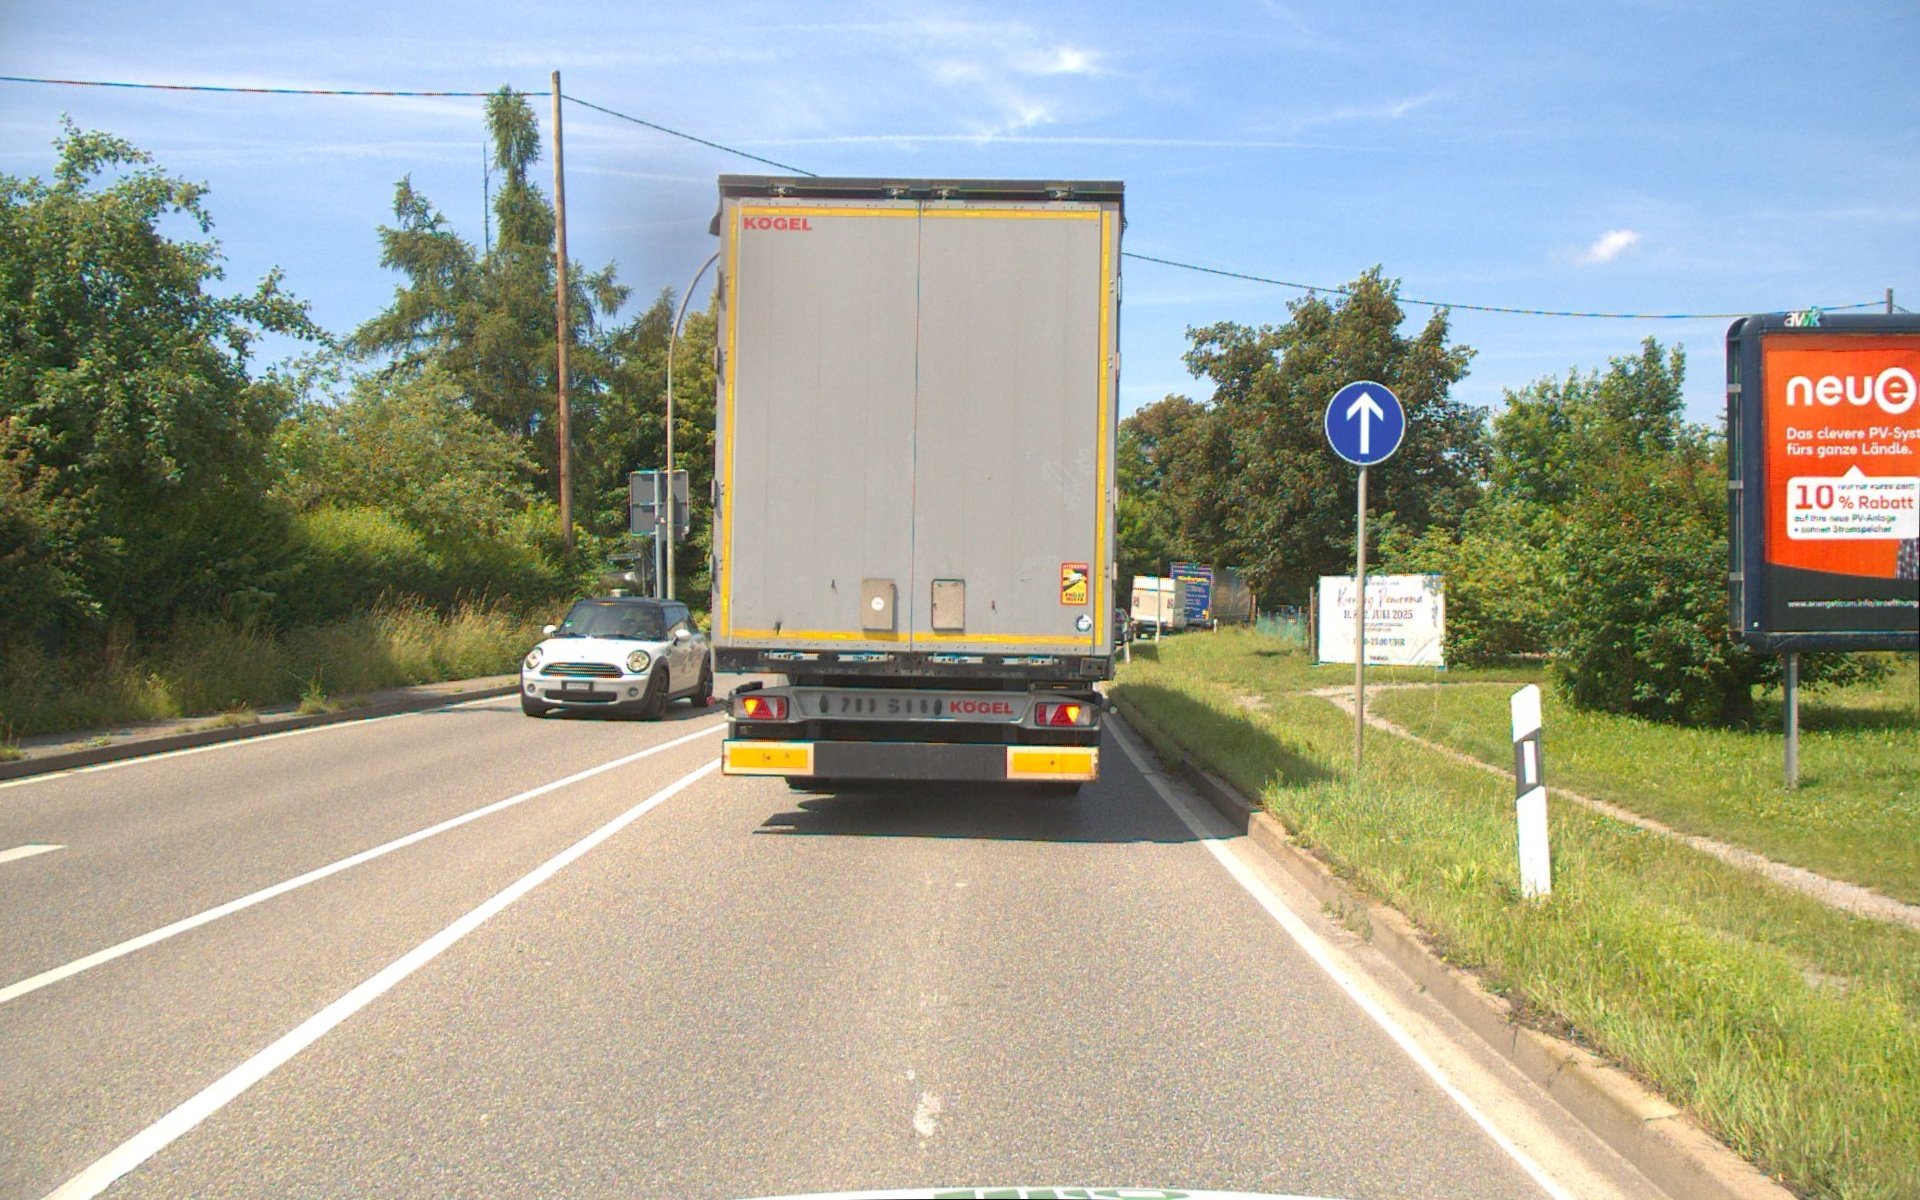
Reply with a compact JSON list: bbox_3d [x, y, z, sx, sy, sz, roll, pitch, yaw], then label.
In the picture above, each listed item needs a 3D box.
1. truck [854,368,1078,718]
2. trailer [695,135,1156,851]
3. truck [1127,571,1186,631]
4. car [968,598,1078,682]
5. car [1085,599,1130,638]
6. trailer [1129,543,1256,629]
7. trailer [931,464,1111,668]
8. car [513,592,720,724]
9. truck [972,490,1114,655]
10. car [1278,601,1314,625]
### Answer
[{"bbox_3d":[0.280,-0.736,23.225,2.688,4.238,6.146,1,1,4],"label":"truck"},{"bbox_3d":[-0.039,-0.713,16.015,2.729,4.278,12.114,1,1,2],"label":"trailer"},{"bbox_3d":[9.871,0.038,82.779,2.369,2.888,5.417,1,1,12],"label":"truck"},{"bbox_3d":[1.347,0.771,33.814,1.951,1.556,4.003,1,1,6],"label":"car"},{"bbox_3d":[6.191,0.737,69.047,1.802,1.512,4.003,1,1,6],"label":"car"},{"bbox_3d":[14.259,-0.850,99.726,5.070,4.709,15.904,1,1,17],"label":"trailer"},{"bbox_3d":[1.943,-0.773,43.713,3.808,4.600,12.722,0,0,6],"label":"trailer"},{"bbox_3d":[-4.170,0.650,20.602,1.588,1.405,3.562,3,1,3],"label":"car"},{"bbox_3d":[2.671,-0.784,50.483,3.853,4.655,7.157,0,0,6],"label":"truck"},{"bbox_3d":[24.911,0.946,122.583,1.953,1.713,4.000,1,1,22],"label":"car"}]
